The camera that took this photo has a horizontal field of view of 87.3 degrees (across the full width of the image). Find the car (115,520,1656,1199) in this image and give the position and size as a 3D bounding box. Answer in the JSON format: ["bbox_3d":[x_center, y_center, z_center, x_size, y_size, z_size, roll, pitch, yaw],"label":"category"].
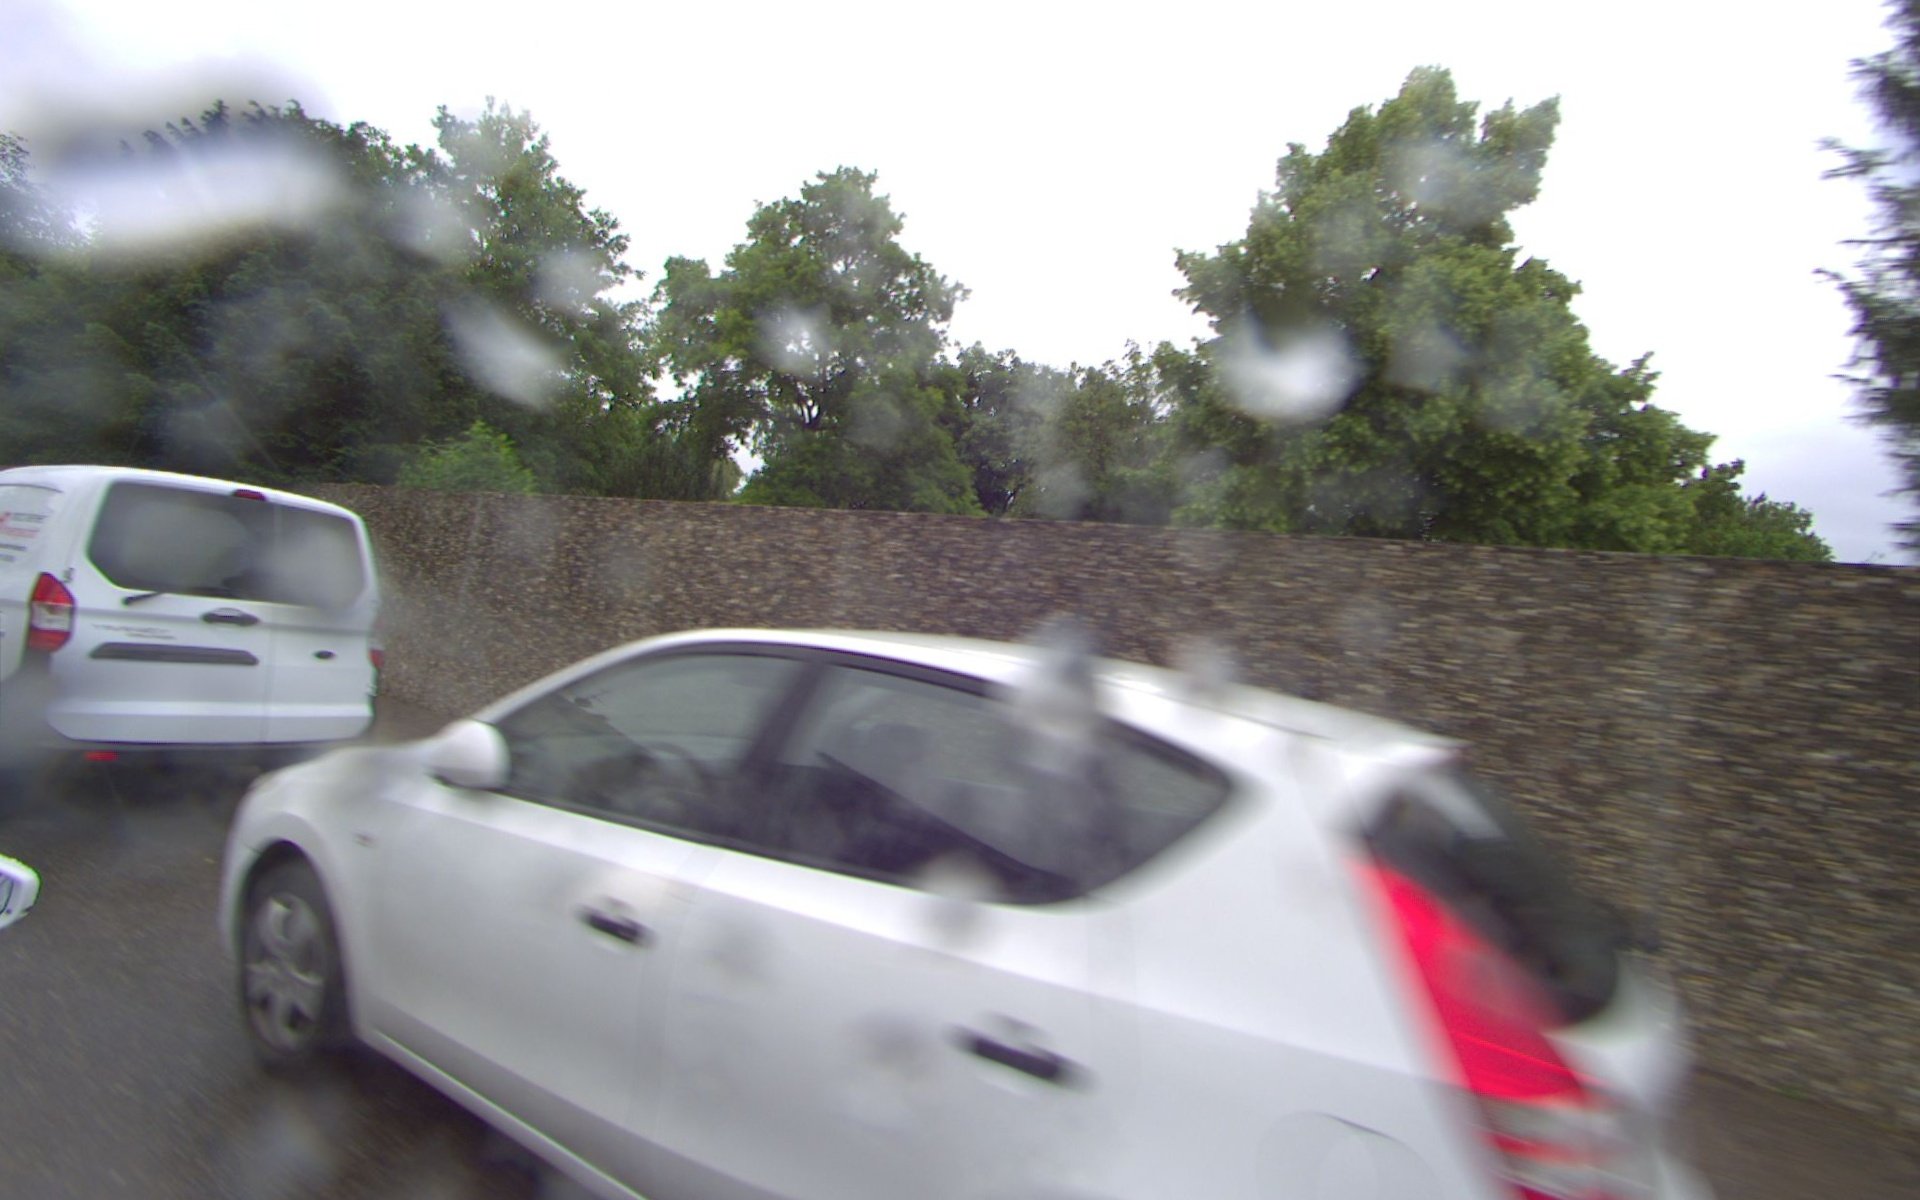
[{"bbox_3d":[-0.524,0.748,2.895,3.934,1.478,1.650,6,-3,32],"label":"car"}]

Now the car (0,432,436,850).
[{"bbox_3d":[-5.138,0.101,6.042,4.070,1.760,1.640,6,-3,34],"label":"car"}]

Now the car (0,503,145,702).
[{"bbox_3d":[-8.721,-0.145,8.548,3.603,1.472,1.586,7,-1,32],"label":"car"}]
